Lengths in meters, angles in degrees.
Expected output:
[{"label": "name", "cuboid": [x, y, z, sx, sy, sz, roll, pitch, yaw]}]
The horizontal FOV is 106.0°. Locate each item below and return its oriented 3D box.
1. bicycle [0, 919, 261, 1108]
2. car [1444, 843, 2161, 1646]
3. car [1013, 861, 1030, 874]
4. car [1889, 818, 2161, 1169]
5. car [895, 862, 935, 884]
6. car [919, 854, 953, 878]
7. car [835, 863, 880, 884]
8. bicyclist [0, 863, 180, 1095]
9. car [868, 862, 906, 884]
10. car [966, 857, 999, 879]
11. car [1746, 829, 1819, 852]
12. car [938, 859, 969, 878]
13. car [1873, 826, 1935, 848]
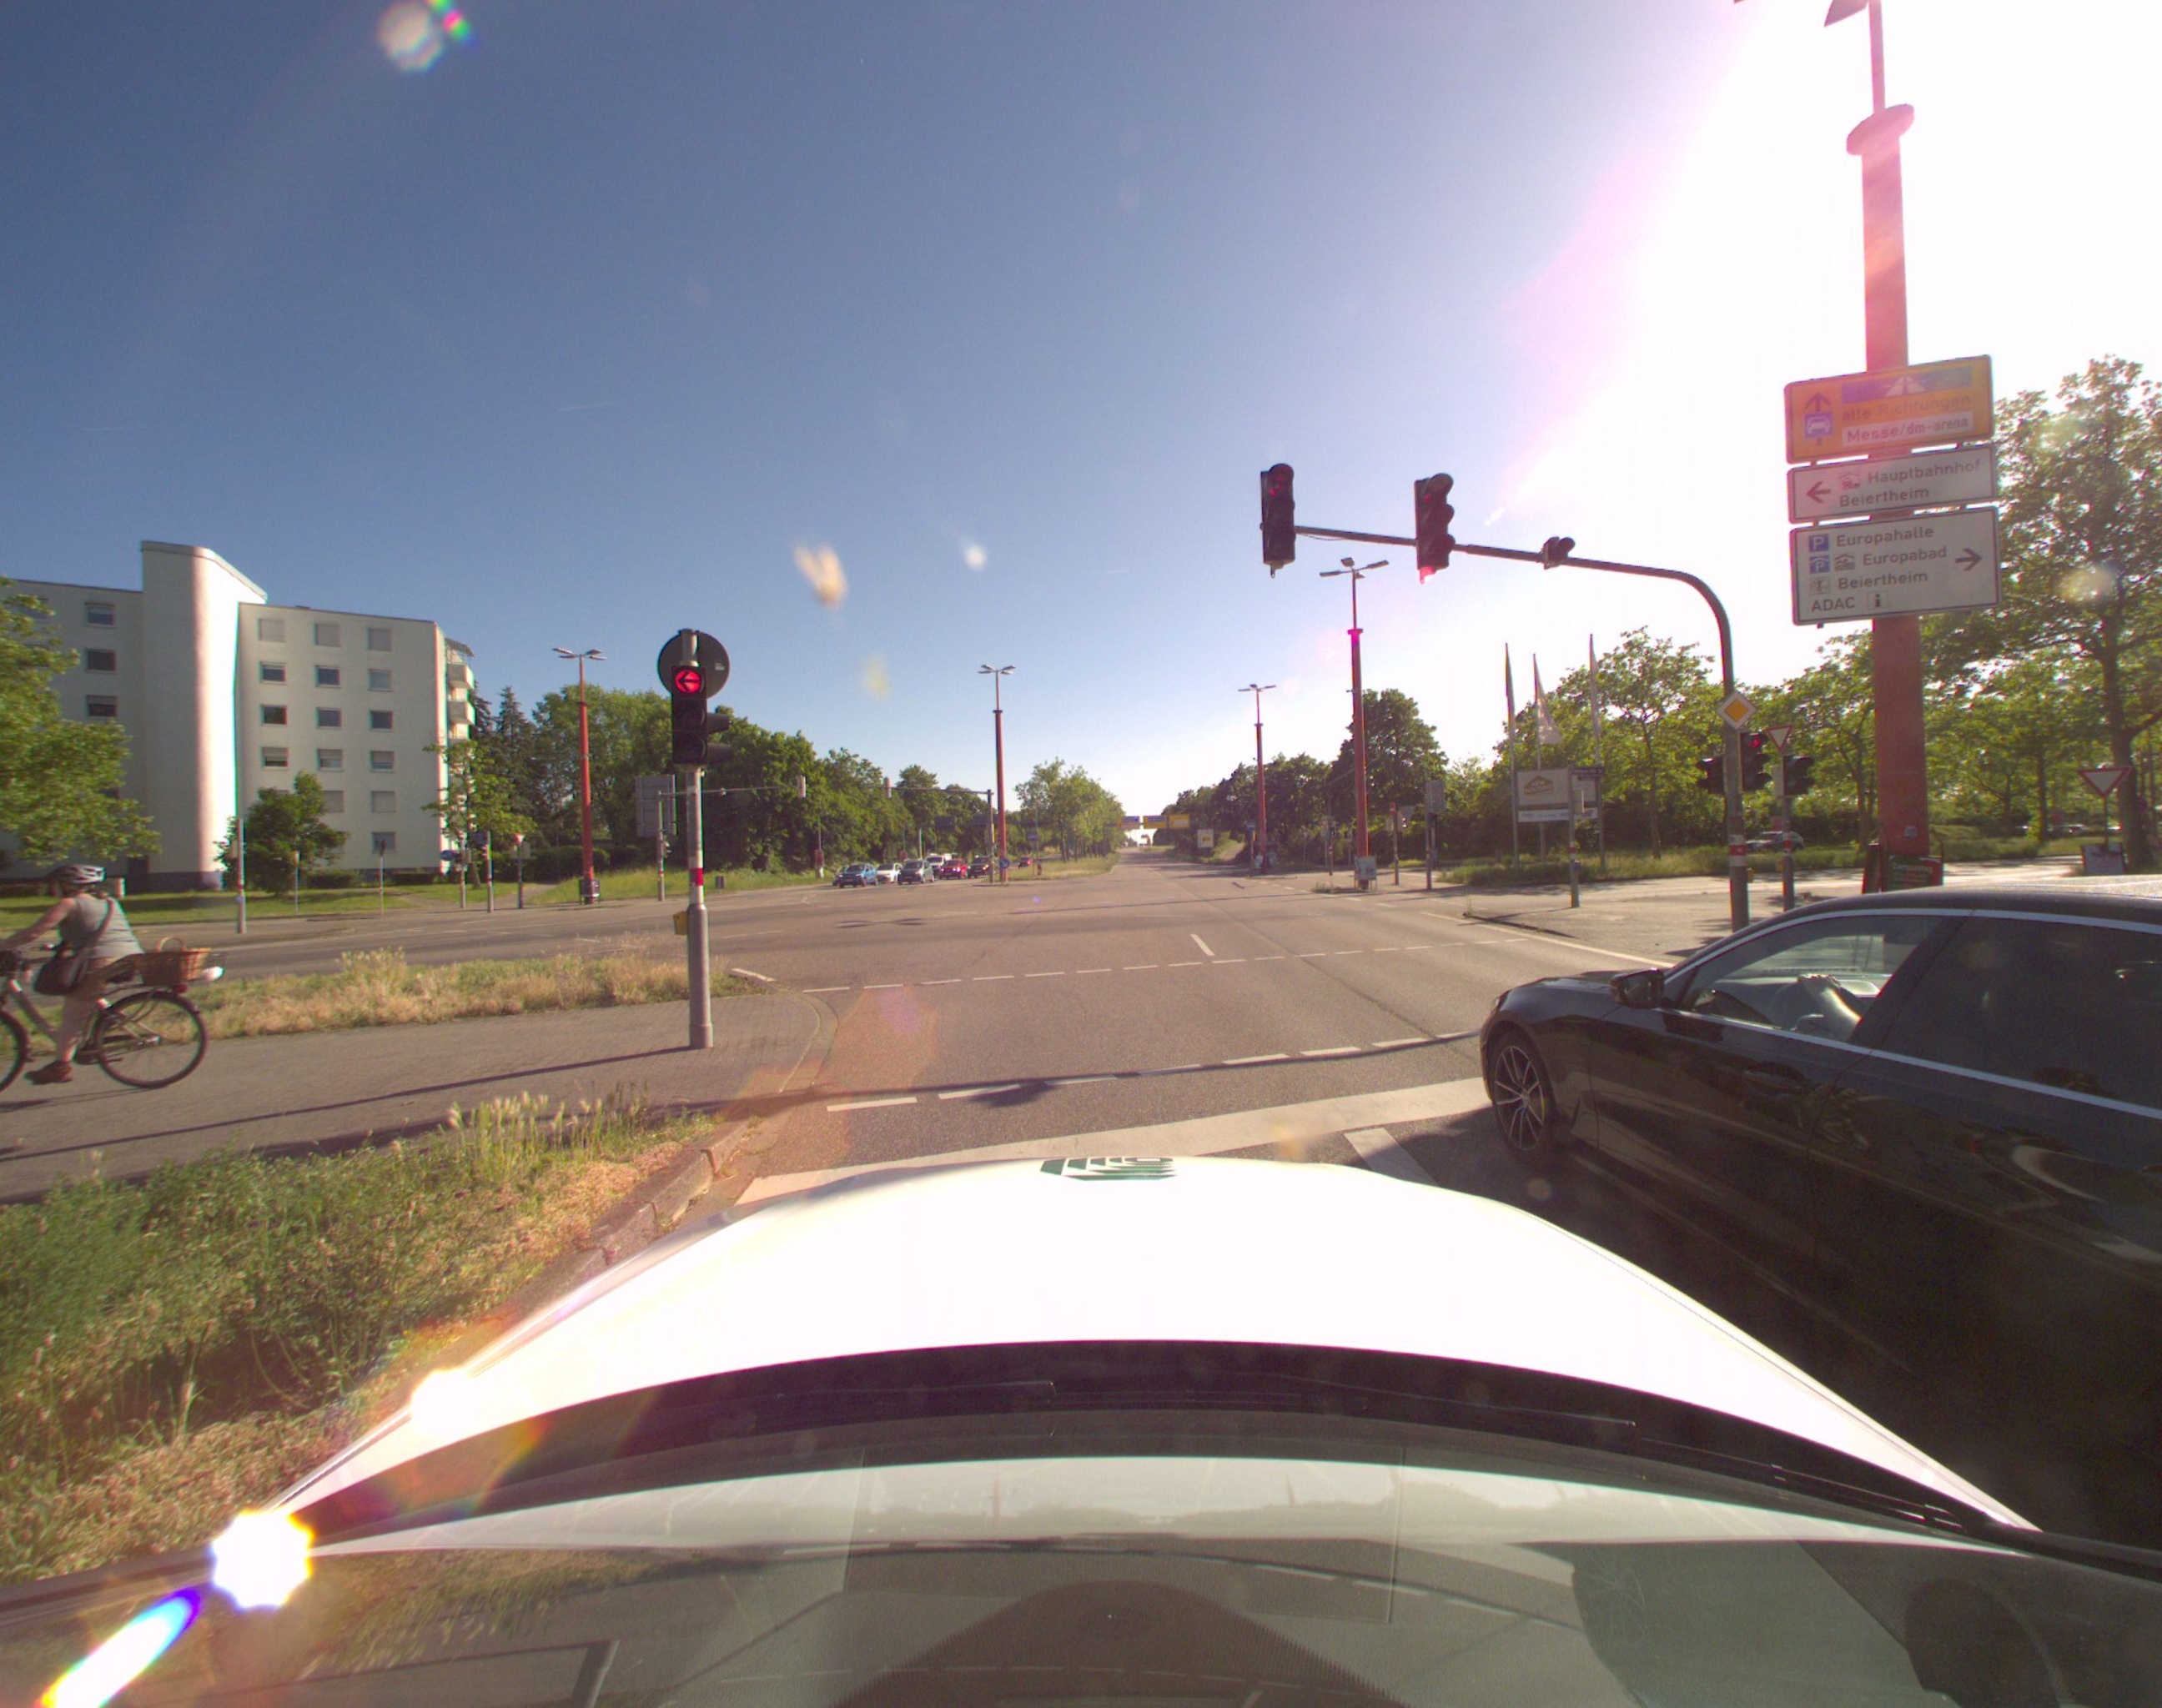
[{"label": "bicycle", "cuboid": [-7.525, 1.157, 5.993, 1.952, 1.195, 0.686, -2, 0, -26]}, {"label": "car", "cuboid": [2.891, 0.689, 2.361, 1.862, 1.398, 4.446, -2, 0, 3]}, {"label": "car", "cuboid": [-7.774, 1.759, 106.901, 1.812, 1.629, 4.002, -2, 0, 2]}, {"label": "car", "cuboid": [5.673, 0.602, 2.870, 1.732, 1.578, 4.032, -2, 0, 3]}, {"label": "car", "cuboid": [-10.599, 1.187, 52.315, 1.733, 1.243, 3.613, -2, 0, 1]}, {"label": "car", "cuboid": [-12.610, 1.022, 71.271, 1.886, 2.026, 5.224, -1, 0, 1]}, {"label": "car", "cuboid": [-14.083, 1.210, 51.428, 1.733, 1.243, 3.613, -2, 0, 1]}, {"label": "bicyclist", "cuboid": [-7.383, 0.871, 6.069, 0.664, 1.584, 0.667, -2, 0, -26]}, {"label": "car", "cuboid": [-13.666, 1.316, 57.538, 1.733, 1.411, 3.613, -2, 0, 1]}, {"label": "car", "cuboid": [-7.316, 1.047, 60.592, 1.812, 1.508, 4.002, -2, 0, 2]}, {"label": "car", "cuboid": [49.194, -0.932, 57.138, 4.323, 1.485, 1.776, -2, 0, -15]}, {"label": "car", "cuboid": [-9.684, 1.085, 62.136, 1.733, 1.362, 3.613, -2, 0, 1]}, {"label": "car", "cuboid": [61.798, -1.279, 61.154, 3.993, 1.467, 1.674, -2, 0, -18]}]
